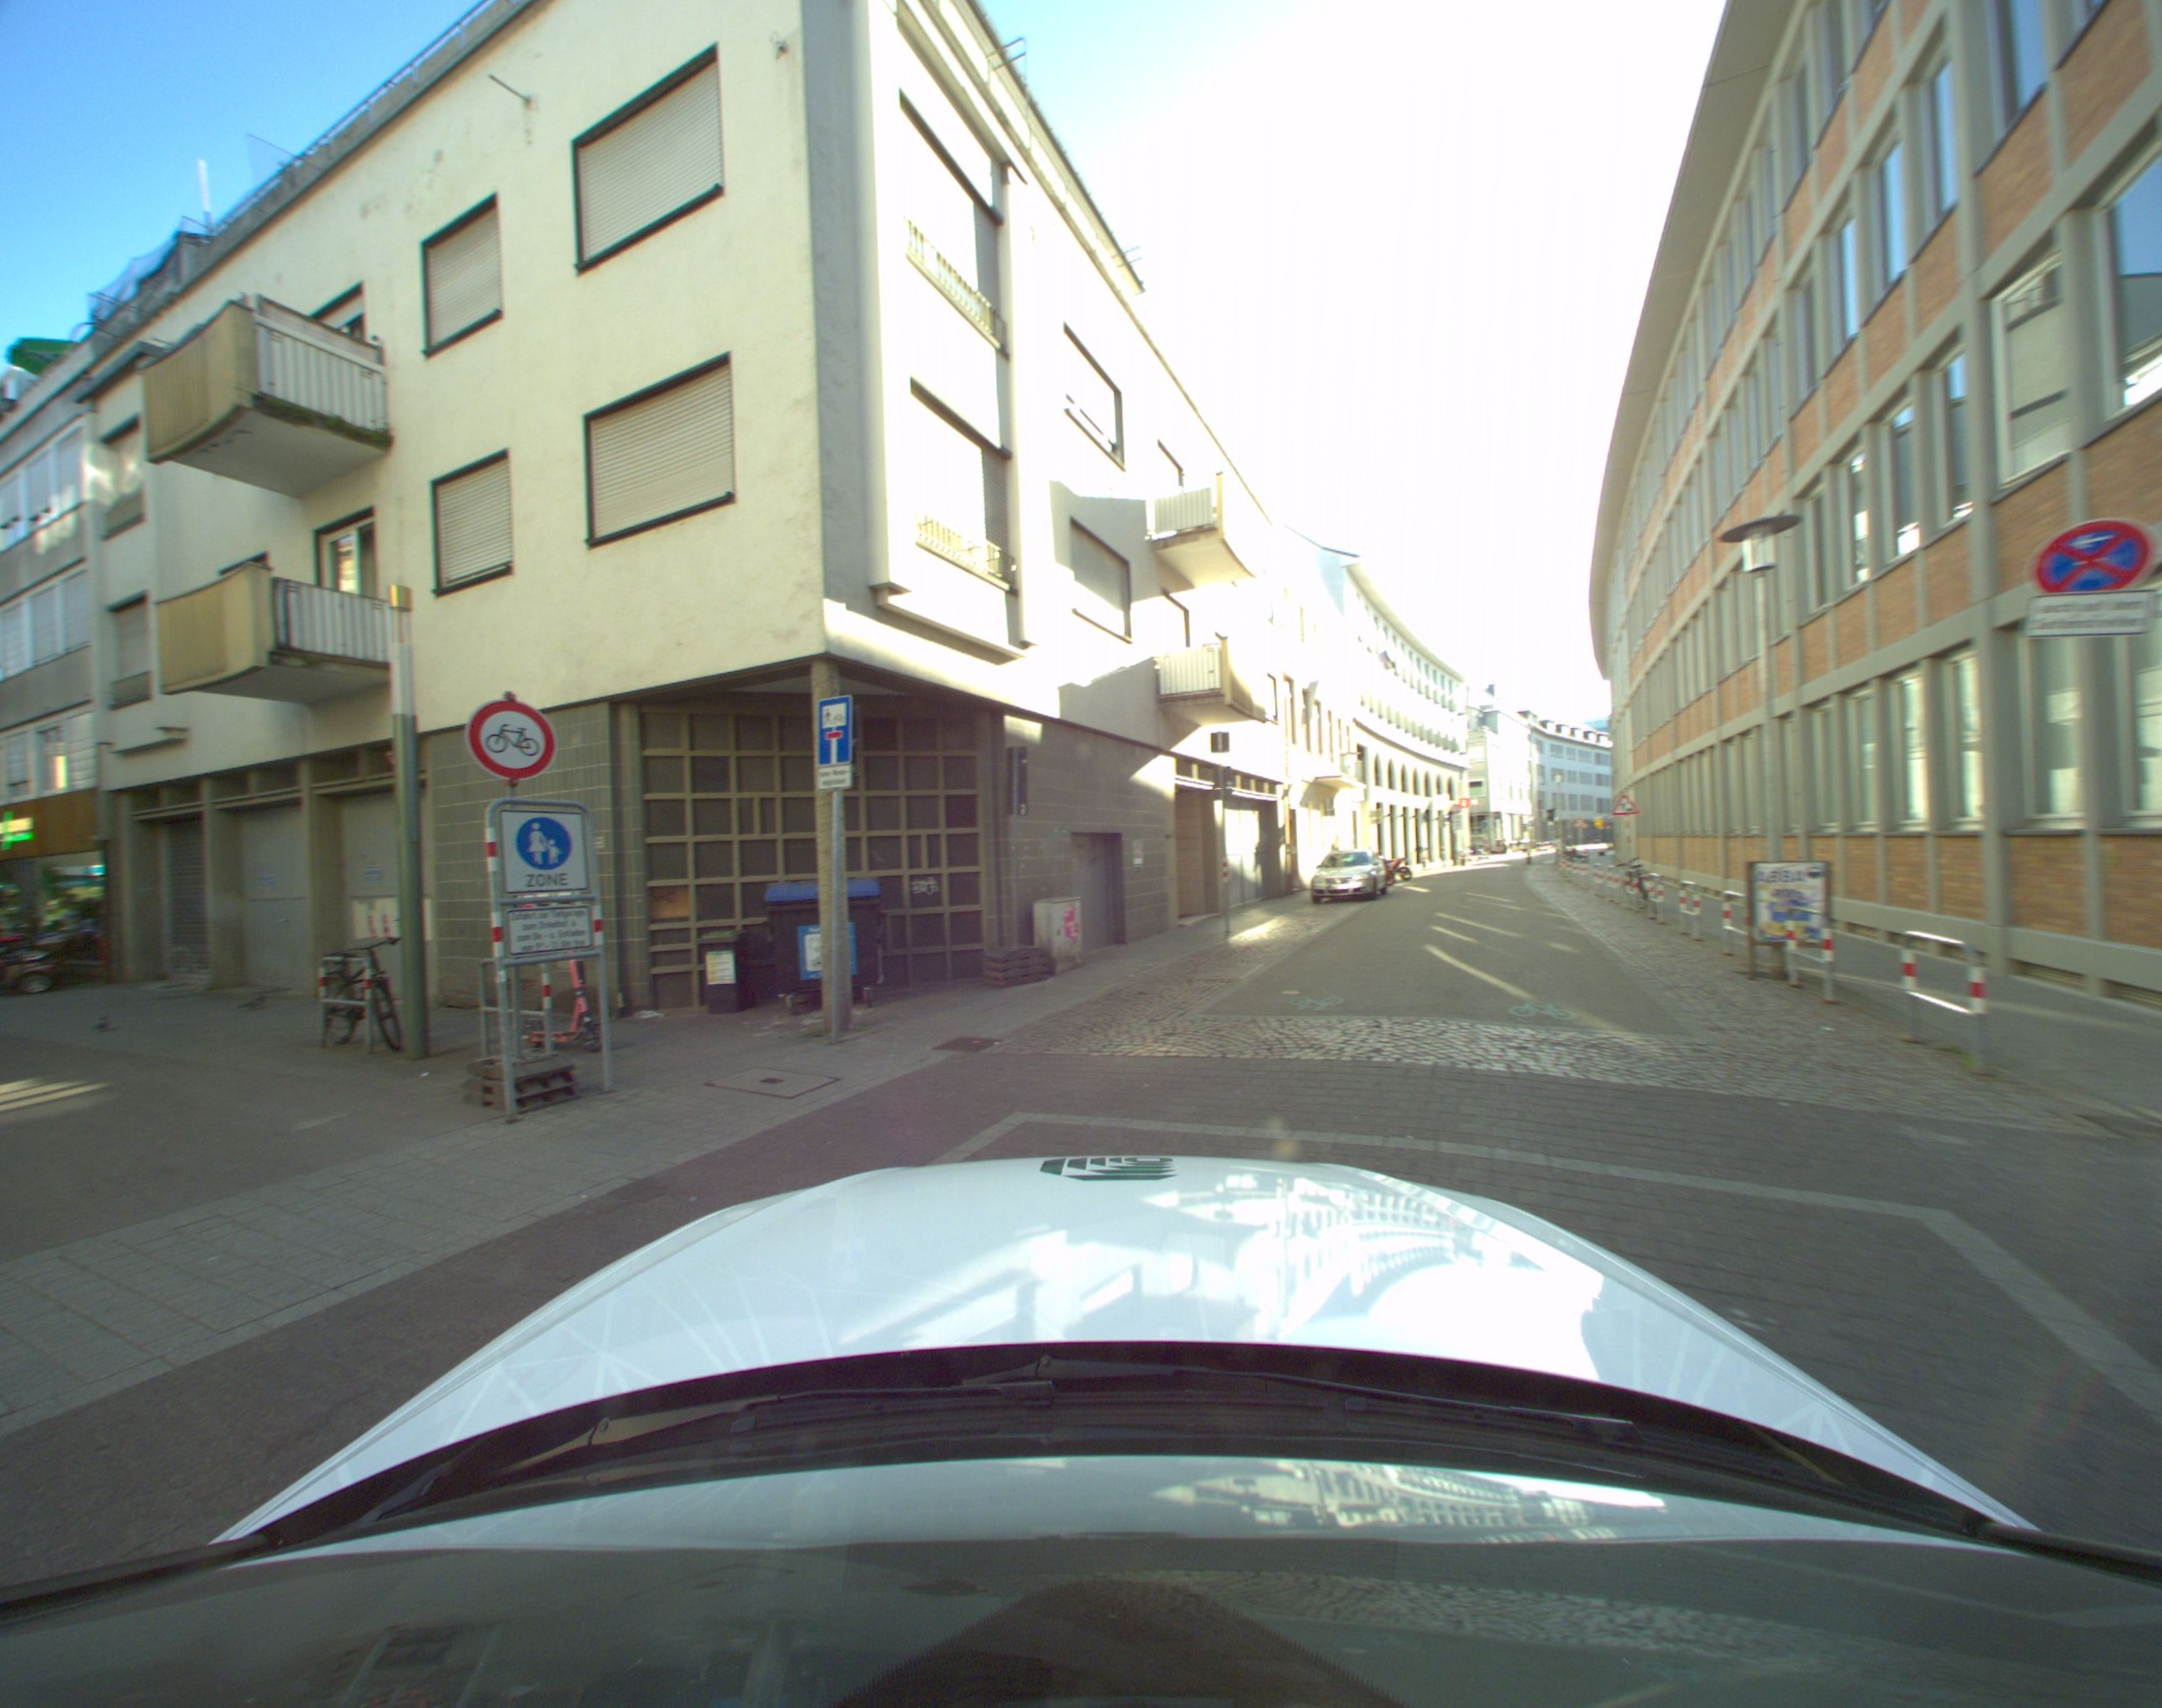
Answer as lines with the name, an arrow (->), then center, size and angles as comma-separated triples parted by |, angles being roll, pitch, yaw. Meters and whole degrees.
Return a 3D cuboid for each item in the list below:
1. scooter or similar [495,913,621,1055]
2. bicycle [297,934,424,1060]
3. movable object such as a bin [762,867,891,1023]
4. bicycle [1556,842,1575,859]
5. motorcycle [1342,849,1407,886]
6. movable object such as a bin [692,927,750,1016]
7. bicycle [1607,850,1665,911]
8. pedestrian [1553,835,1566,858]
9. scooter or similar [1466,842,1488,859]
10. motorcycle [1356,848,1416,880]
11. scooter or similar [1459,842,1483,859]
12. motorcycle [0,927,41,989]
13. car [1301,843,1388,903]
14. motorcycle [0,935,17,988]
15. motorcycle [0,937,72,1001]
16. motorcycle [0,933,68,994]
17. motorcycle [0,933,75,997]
scooter or similar -> -4.959, 1.217, 7.717 | 1.224, 1.253, 0.310 | -3, -1, 22
bicycle -> -7.362, 1.418, 8.297 | 1.688, 1.140, 0.451 | -4, -2, 31
movable object such as a bin -> -2.954, 0.986, 9.472 | 1.291, 1.589, 1.148 | -2, 1, -19
bicycle -> 32.926, -0.265, 55.323 | 0.919, 1.047, 3.389 | -3, 0, 34
motorcycle -> 10.927, 0.520, 30.403 | 0.578, 1.245, 2.186 | -3, -1, -43
movable object such as a bin -> -4.151, 1.341, 9.425 | 0.542, 0.923, 0.509 | -3, 0, -21
bicycle -> 11.214, 0.506, 16.506 | 0.630, 1.116, 1.942 | -3, 0, 25
pedestrian -> 29.590, -0.469, 50.366 | 0.651, 1.441, 0.599 | -3, 0, 28
scooter or similar -> 30.971, -0.264, 63.723 | 0.531, 1.197, 1.953 | -3, -2, -5
motorcycle -> 12.691, 0.428, 33.966 | 0.578, 1.245, 2.261 | -3, -1, -43
scooter or similar -> 28.526, -0.244, 59.589 | 0.531, 1.197, 1.953 | -3, -2, -5
motorcycle -> -22.205, 2.148, 16.293 | 0.474, 1.175, 1.640 | -3, 0, 44
car -> 7.757, 0.516, 23.740 | 1.748, 1.470, 3.836 | -5, -1, 27
motorcycle -> -22.888, 2.267, 16.533 | 0.407, 1.075, 1.497 | -3, 0, 44
motorcycle -> -19.574, 2.129, 14.745 | 0.368, 1.041, 1.579 | -3, 0, 44
motorcycle -> -20.953, 2.161, 15.835 | 0.407, 1.075, 1.497 | -3, 0, 44
motorcycle -> -20.135, 2.113, 15.277 | 0.407, 1.075, 1.531 | -3, 0, 44
